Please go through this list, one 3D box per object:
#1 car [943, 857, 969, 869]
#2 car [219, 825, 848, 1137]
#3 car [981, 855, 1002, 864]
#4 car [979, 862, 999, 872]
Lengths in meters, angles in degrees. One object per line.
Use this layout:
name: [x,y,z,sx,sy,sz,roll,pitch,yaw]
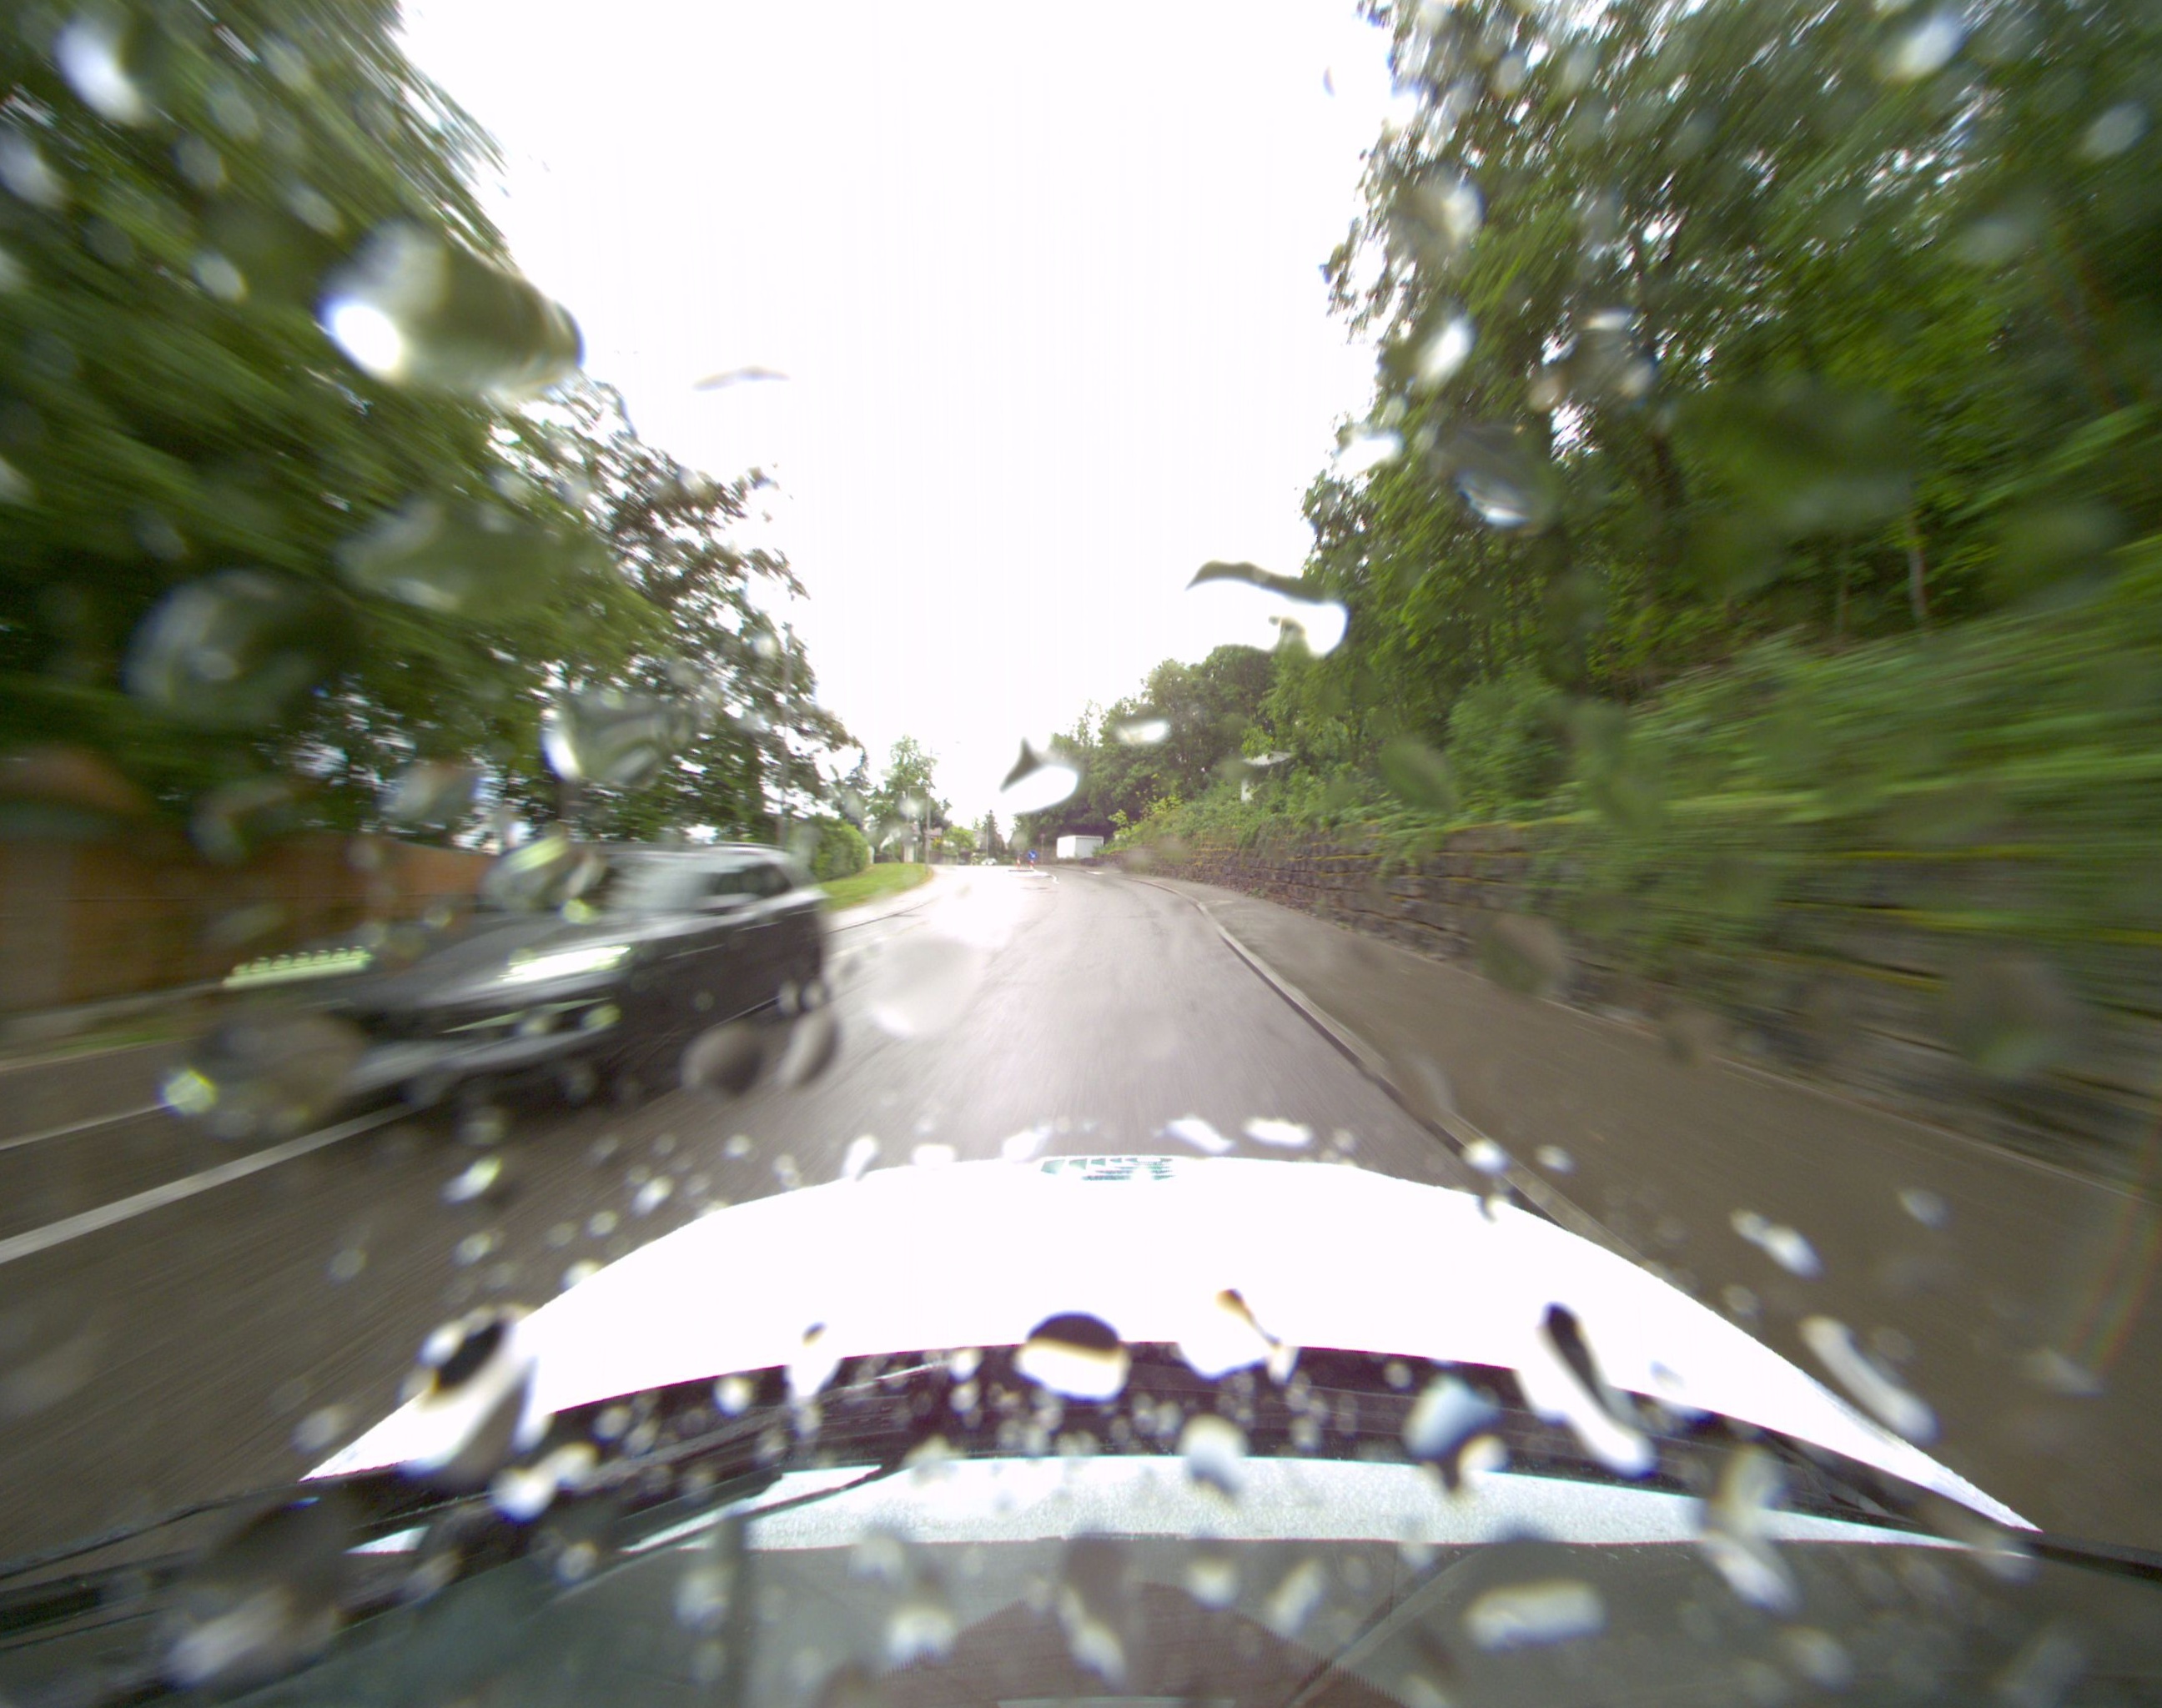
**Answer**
car: [-20.778,1.511,134.988,3.949,1.632,2.026,2,-2,41]
car: [-3.560,0.687,6.597,1.911,1.648,4.548,0,0,2]
car: [-15.907,1.024,144.087,1.948,1.389,3.957,5,-3,-35]
car: [-14.614,2.092,129.879,1.819,1.520,4.643,0,0,13]
